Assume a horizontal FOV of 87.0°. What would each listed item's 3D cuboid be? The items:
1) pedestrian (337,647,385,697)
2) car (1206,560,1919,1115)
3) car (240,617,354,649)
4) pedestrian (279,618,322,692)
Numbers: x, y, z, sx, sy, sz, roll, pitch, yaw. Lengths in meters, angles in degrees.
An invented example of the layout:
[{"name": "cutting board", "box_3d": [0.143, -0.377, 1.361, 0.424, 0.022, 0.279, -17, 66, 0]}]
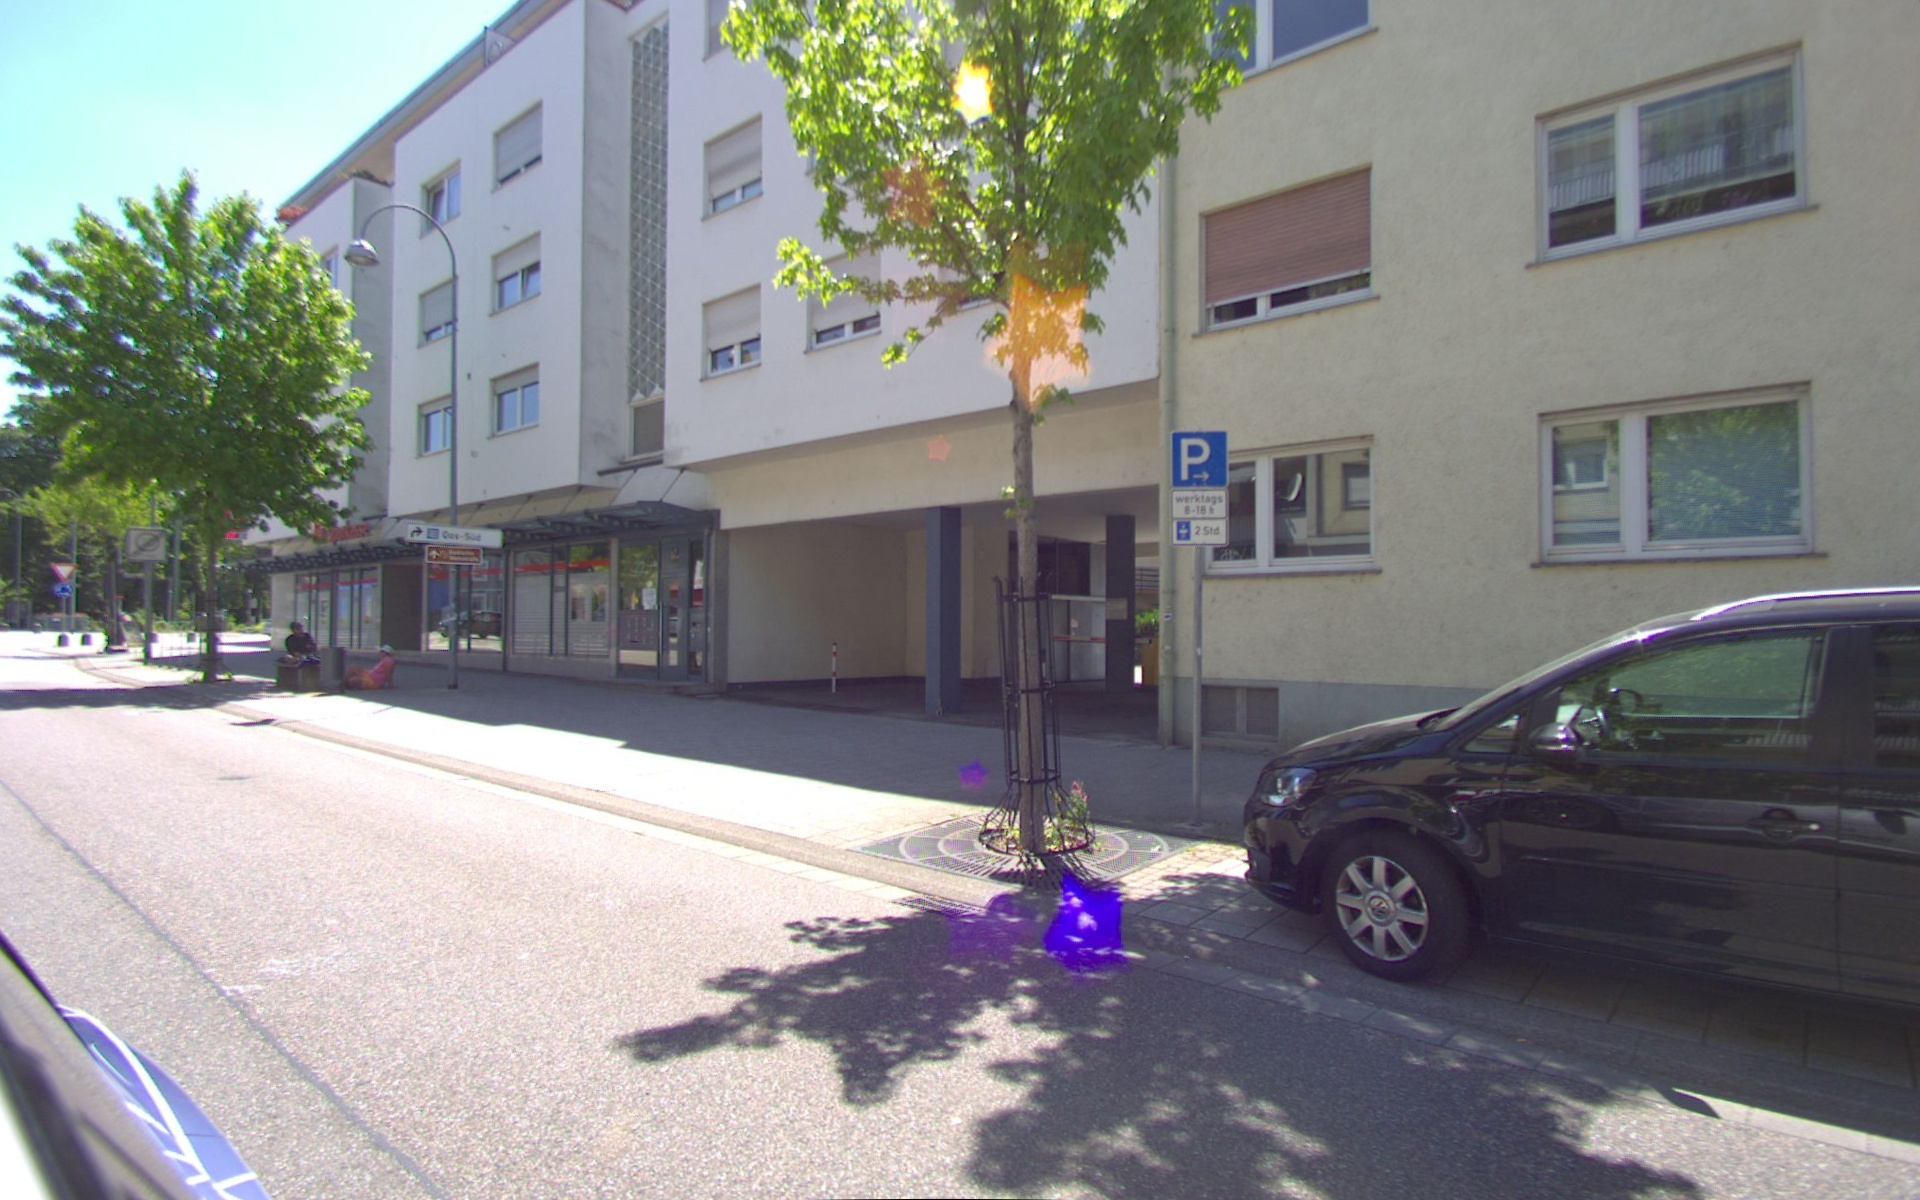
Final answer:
[{"name": "pedestrian", "box_3d": [-11.367, 1.357, 19.202, 0.656, 0.864, 0.734, 3, 1, -40]}, {"name": "car", "box_3d": [3.393, 0.734, 3.987, 4.388, 1.753, 1.711, -1, 1, 40]}, {"name": "car", "box_3d": [-37.463, 1.865, 57.324, 1.993, 1.604, 4.947, 3, -1, 30]}, {"name": "pedestrian", "box_3d": [-12.516, 1.035, 19.202, 0.560, 1.382, 0.668, 3, -2, -40]}]
